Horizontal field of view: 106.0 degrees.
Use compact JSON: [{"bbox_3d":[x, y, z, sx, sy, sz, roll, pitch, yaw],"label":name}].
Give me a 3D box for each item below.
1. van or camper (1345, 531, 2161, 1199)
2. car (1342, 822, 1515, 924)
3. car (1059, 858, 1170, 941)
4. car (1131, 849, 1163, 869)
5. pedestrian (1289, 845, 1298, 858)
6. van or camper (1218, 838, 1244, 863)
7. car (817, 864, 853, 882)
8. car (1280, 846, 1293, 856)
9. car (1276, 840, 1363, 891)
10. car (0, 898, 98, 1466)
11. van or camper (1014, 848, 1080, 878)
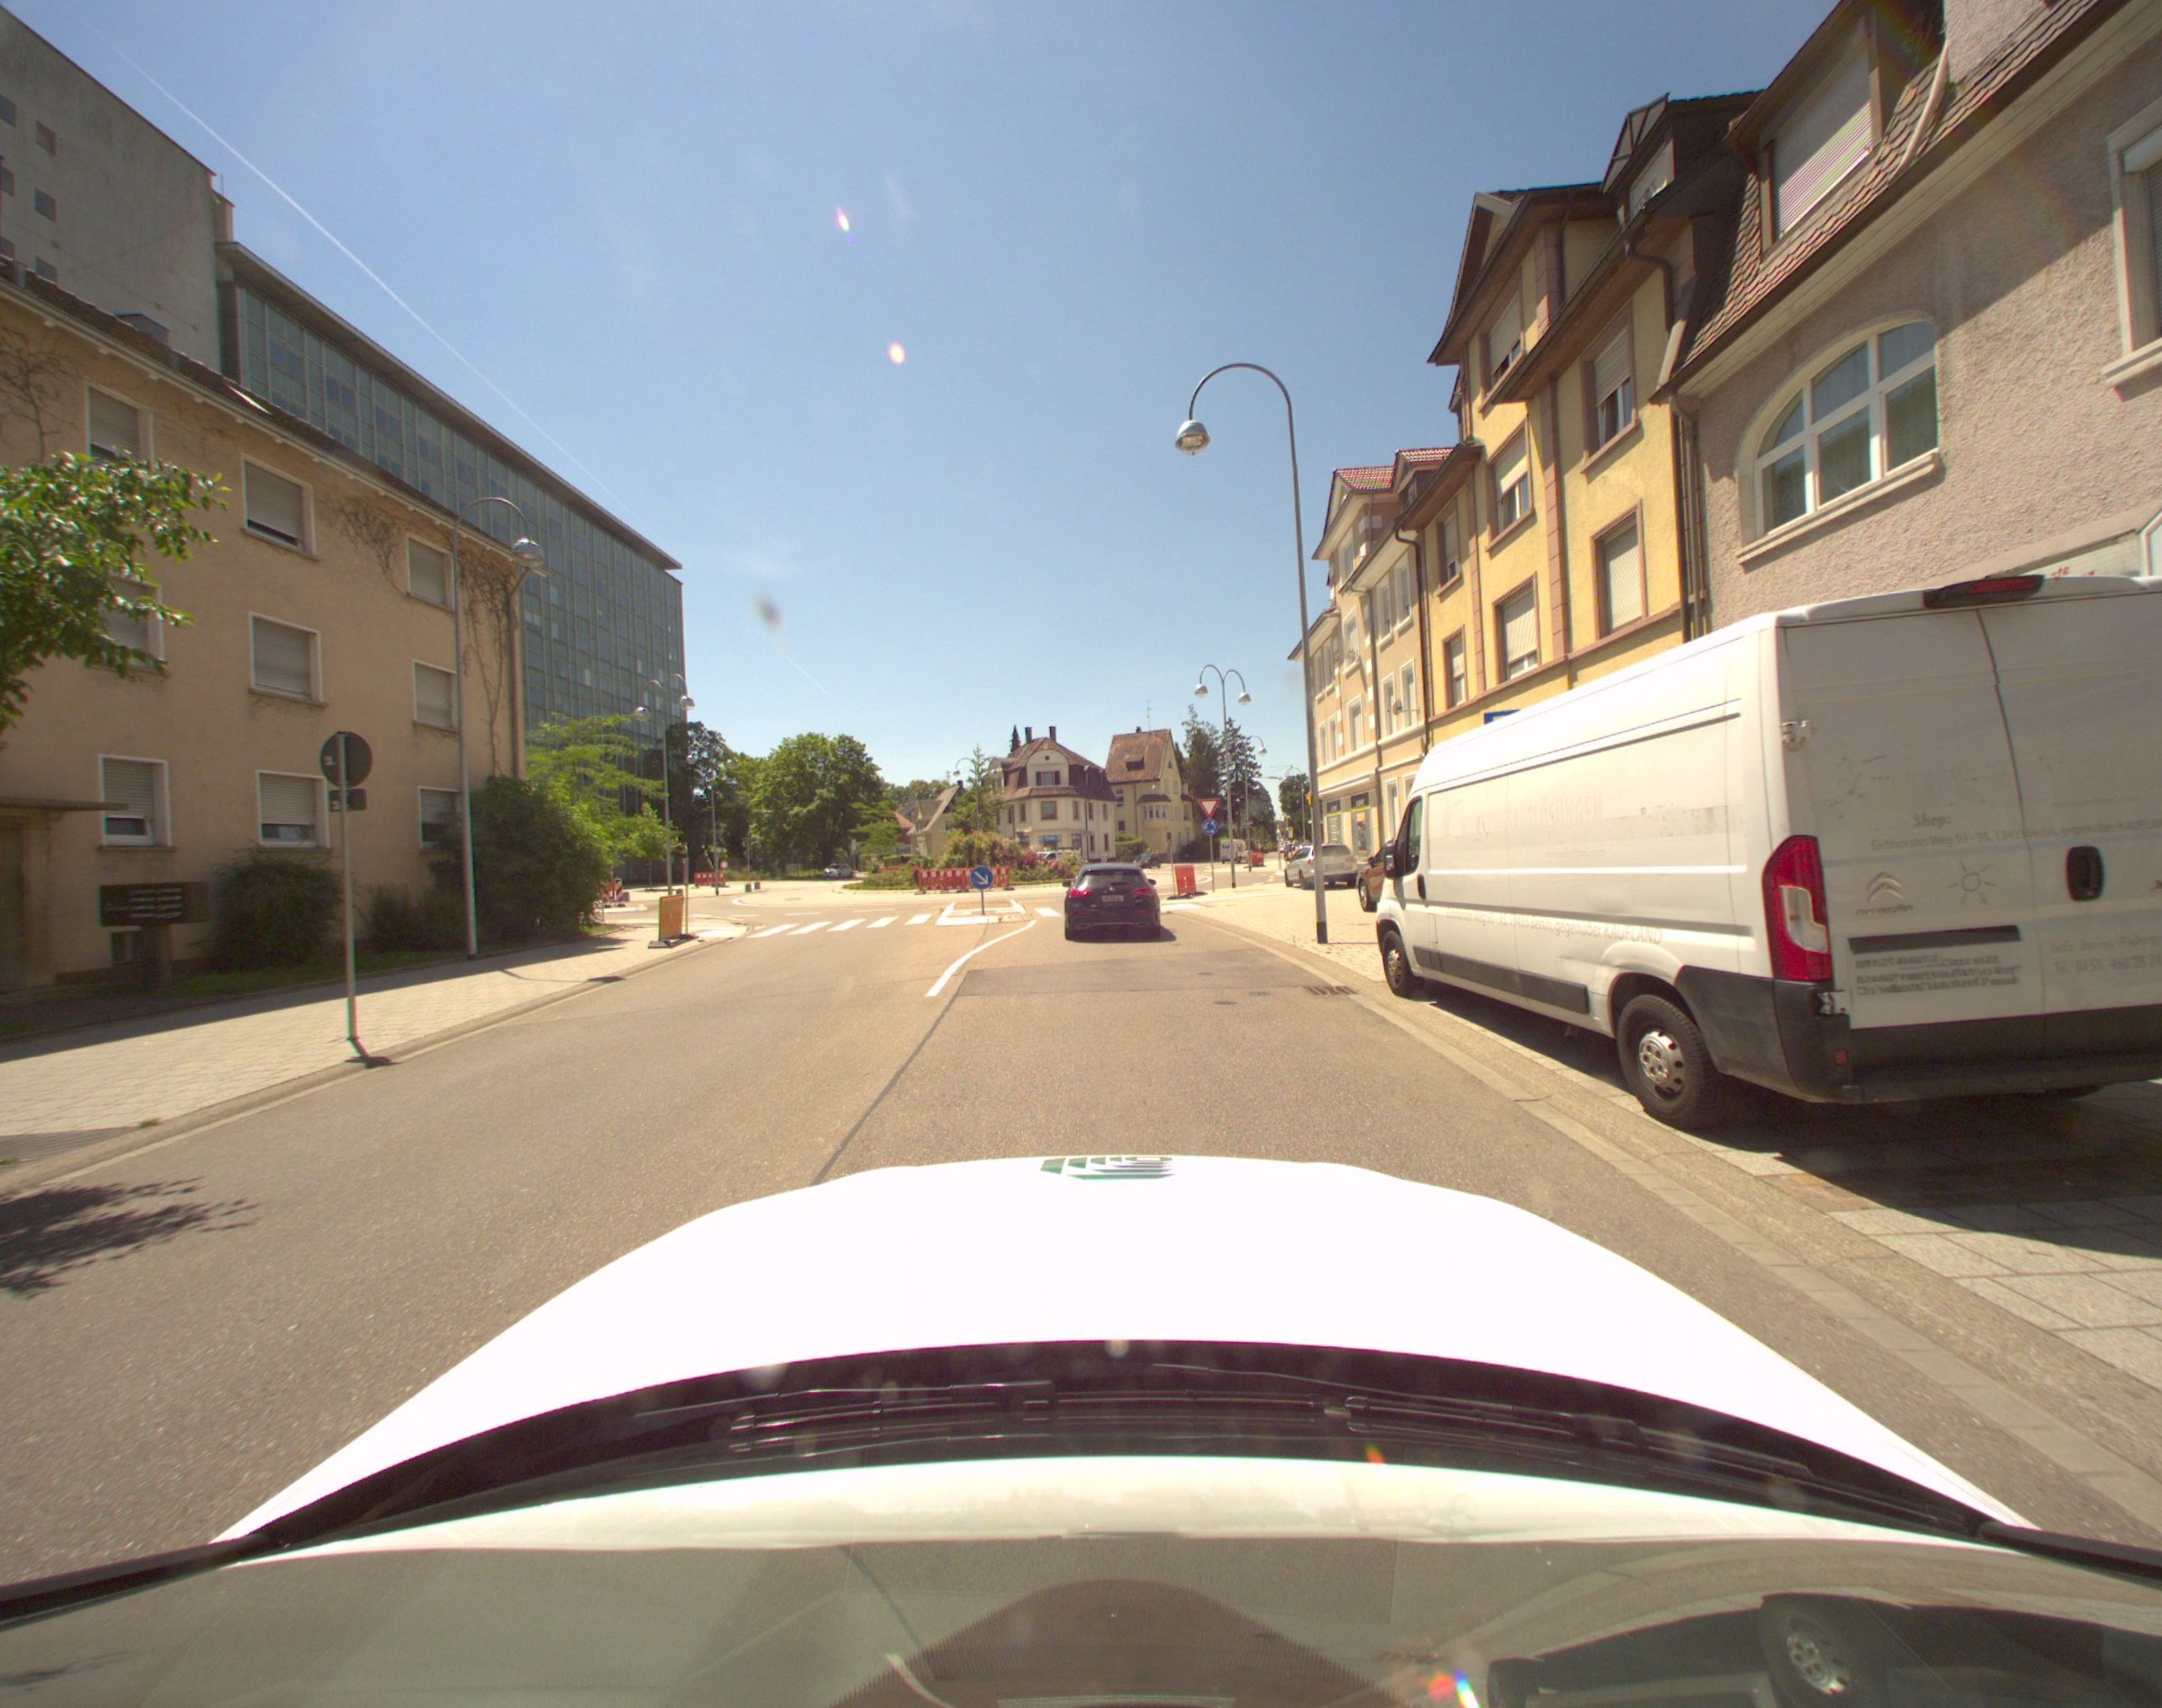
[{"bbox_3d":[4.009,0.037,6.156,2.157,2.589,5.768,-4,0,2],"label":"van or camper"},{"bbox_3d":[6.703,0.339,16.257,1.666,1.619,4.366,-5,0,3],"label":"car"},{"bbox_3d":[0.624,0.846,16.522,1.946,1.427,4.000,-2,-1,1],"label":"car"},{"bbox_3d":[6.222,0.480,76.393,1.904,1.772,4.020,-1,0,20],"label":"car"},{"bbox_3d":[22.795,-0.245,87.318,0.660,1.286,0.591,-6,-1,27],"label":"pedestrian"},{"bbox_3d":[16.354,-0.411,88.497,2.188,2.610,4.019,-2,0,18],"label":"van or camper"},{"bbox_3d":[-23.690,1.877,78.479,1.774,1.597,3.930,-2,-3,9],"label":"car"},{"bbox_3d":[37.690,-0.526,149.412,1.977,1.651,4.019,-2,0,19],"label":"car"},{"bbox_3d":[8.157,0.366,28.284,1.757,1.530,4.693,-4,0,3],"label":"car"},{"bbox_3d":[-3.644,0.905,0.459,1.656,1.496,3.755,-3,0,-3],"label":"car"},{"bbox_3d":[-2.573,0.643,62.855,1.974,2.172,5.447,-2,-1,39],"label":"van or camper"}]
